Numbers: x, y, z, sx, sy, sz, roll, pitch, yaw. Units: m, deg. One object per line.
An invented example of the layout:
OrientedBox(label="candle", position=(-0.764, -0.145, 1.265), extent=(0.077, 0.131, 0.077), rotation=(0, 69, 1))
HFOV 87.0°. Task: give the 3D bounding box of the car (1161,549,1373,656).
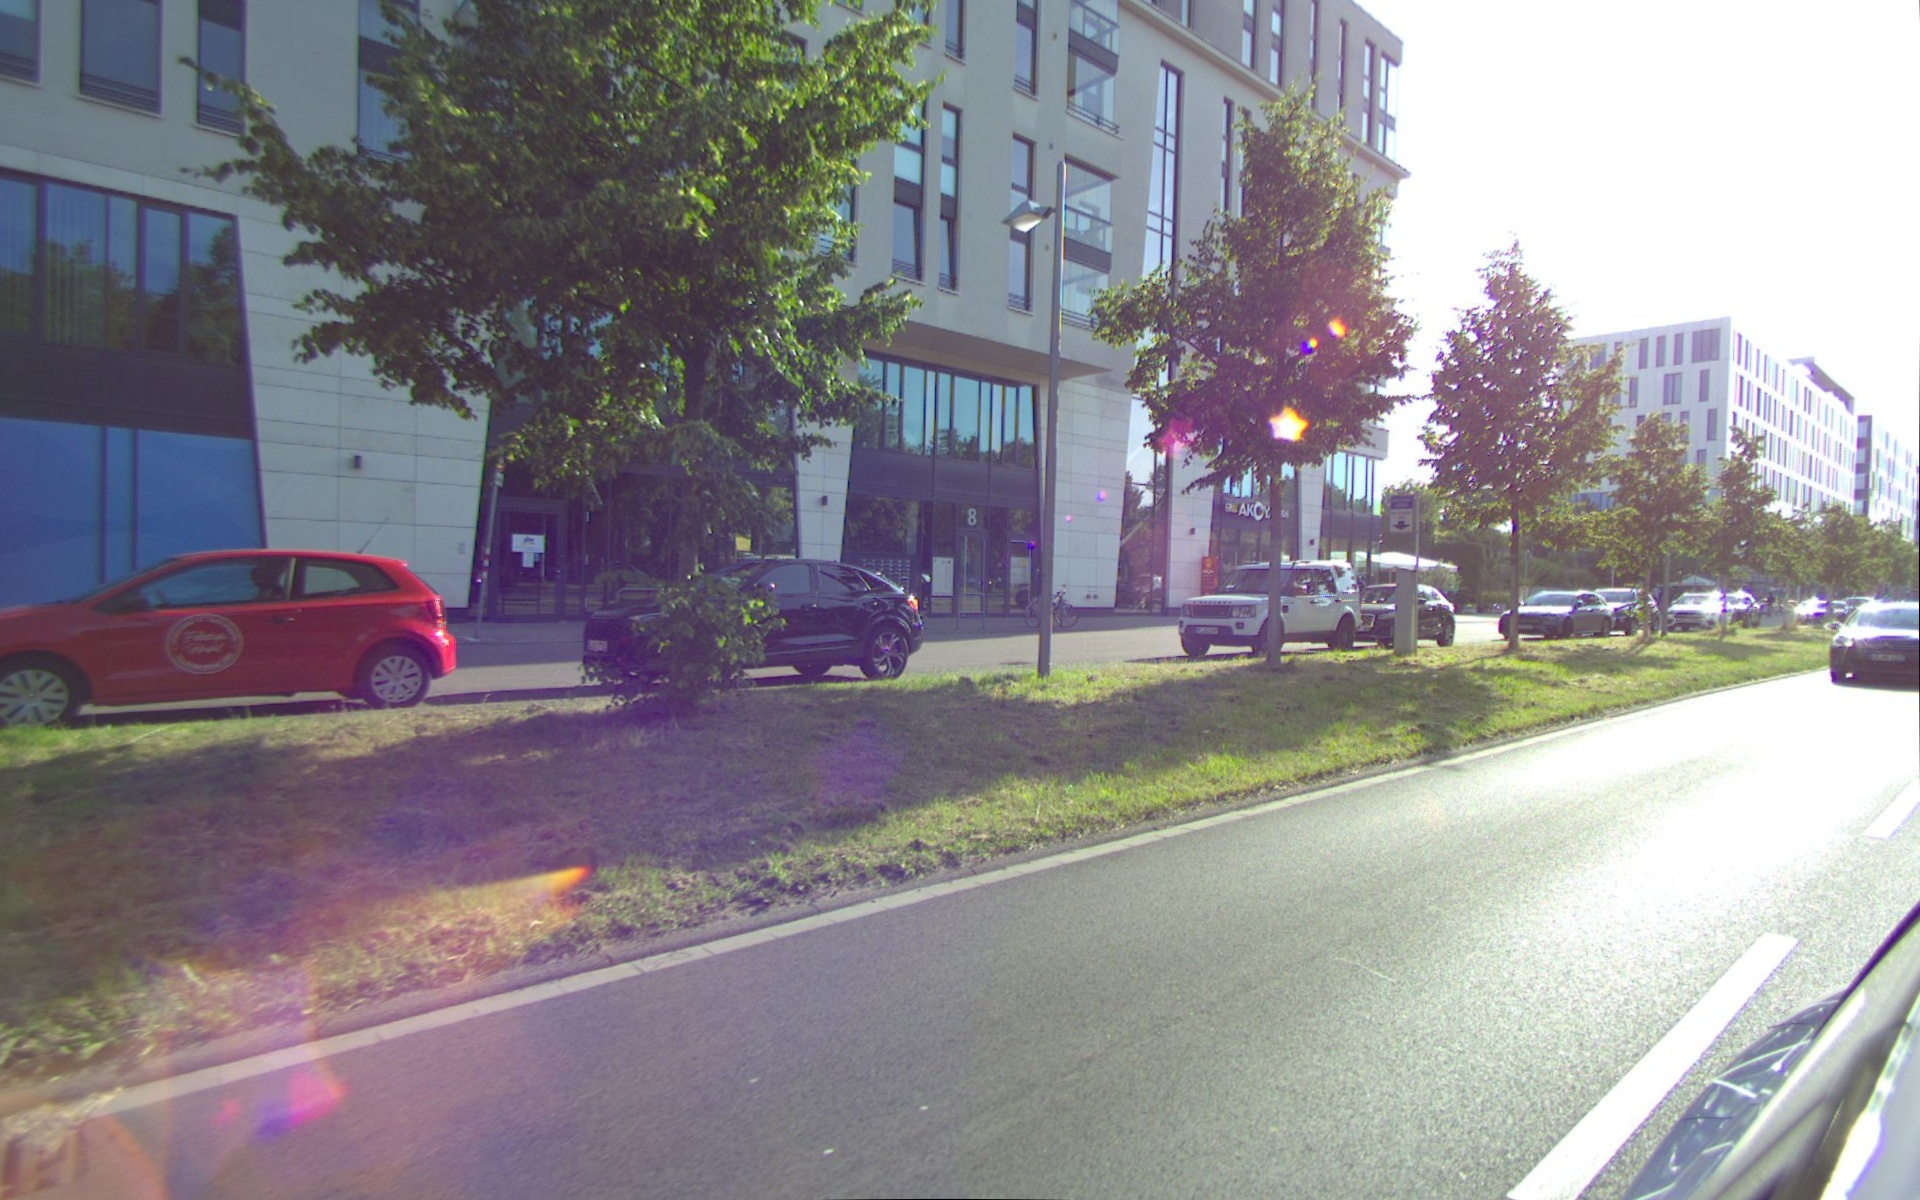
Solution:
OrientedBox(label="car", position=(6.240, 0.009, 20.290), extent=(4.761, 1.898, 1.897), rotation=(-1, 1, -42))

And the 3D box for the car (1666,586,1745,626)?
OrientedBox(label="car", position=(30.957, 0.208, 41.972), extent=(4.254, 1.549, 1.838), rotation=(-1, 1, -42))

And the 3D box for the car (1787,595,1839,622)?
OrientedBox(label="car", position=(51.235, 0.476, 60.756), extent=(4.254, 1.549, 1.838), rotation=(-1, 1, -42))

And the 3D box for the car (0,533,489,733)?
OrientedBox(label="car", position=(-6.554, 0.218, 8.915), extent=(4.046, 1.450, 1.729), rotation=(-1, 1, -44))

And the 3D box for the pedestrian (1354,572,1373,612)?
OrientedBox(label="pedestrian", position=(16.705, -0.337, 41.899), extent=(0.563, 1.621, 0.499), rotation=(0, 0, -42))

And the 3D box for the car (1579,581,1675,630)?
OrientedBox(label="car", position=(23.272, 0.146, 35.258), extent=(4.254, 1.618, 1.762), rotation=(-1, 1, -42))

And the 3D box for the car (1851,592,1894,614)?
OrientedBox(label="car", position=(65.732, 0.192, 72.873), extent=(4.254, 1.549, 1.838), rotation=(-1, 1, -42))

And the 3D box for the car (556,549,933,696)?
OrientedBox(label="car", position=(-2.525, 0.205, 12.655), extent=(1.868, 1.510, 4.345), rotation=(0, 1, 44))

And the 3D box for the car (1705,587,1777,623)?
OrientedBox(label="car", position=(35.602, 0.208, 46.095), extent=(4.254, 1.549, 1.838), rotation=(-1, 1, -42))

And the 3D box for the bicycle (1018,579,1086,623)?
OrientedBox(label="bicycle", position=(2.396, 0.016, 26.233), extent=(1.949, 1.083, 0.512), rotation=(-1, 4, -41))

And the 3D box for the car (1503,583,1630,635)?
OrientedBox(label="car", position=(18.817, 0.237, 31.315), extent=(4.829, 1.507, 1.764), rotation=(-1, 1, -38))

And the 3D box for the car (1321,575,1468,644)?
OrientedBox(label="car", position=(10.394, 0.182, 24.069), extent=(4.141, 1.507, 1.761), rotation=(-1, 1, -44))

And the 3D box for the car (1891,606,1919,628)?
OrientedBox(label="car", position=(84.845, 1.519, 90.713), extent=(3.827, 1.810, 1.738), rotation=(-1, 1, -42))

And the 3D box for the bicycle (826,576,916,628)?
OrientedBox(label="bicycle", position=(-1.951, 0.032, 22.420), extent=(2.041, 1.083, 0.512), rotation=(-1, 4, -41))

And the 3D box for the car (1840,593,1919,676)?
OrientedBox(label="car", position=(18.274, 0.602, 19.353), extent=(3.970, 1.442, 1.697), rotation=(-1, 1, -42))
